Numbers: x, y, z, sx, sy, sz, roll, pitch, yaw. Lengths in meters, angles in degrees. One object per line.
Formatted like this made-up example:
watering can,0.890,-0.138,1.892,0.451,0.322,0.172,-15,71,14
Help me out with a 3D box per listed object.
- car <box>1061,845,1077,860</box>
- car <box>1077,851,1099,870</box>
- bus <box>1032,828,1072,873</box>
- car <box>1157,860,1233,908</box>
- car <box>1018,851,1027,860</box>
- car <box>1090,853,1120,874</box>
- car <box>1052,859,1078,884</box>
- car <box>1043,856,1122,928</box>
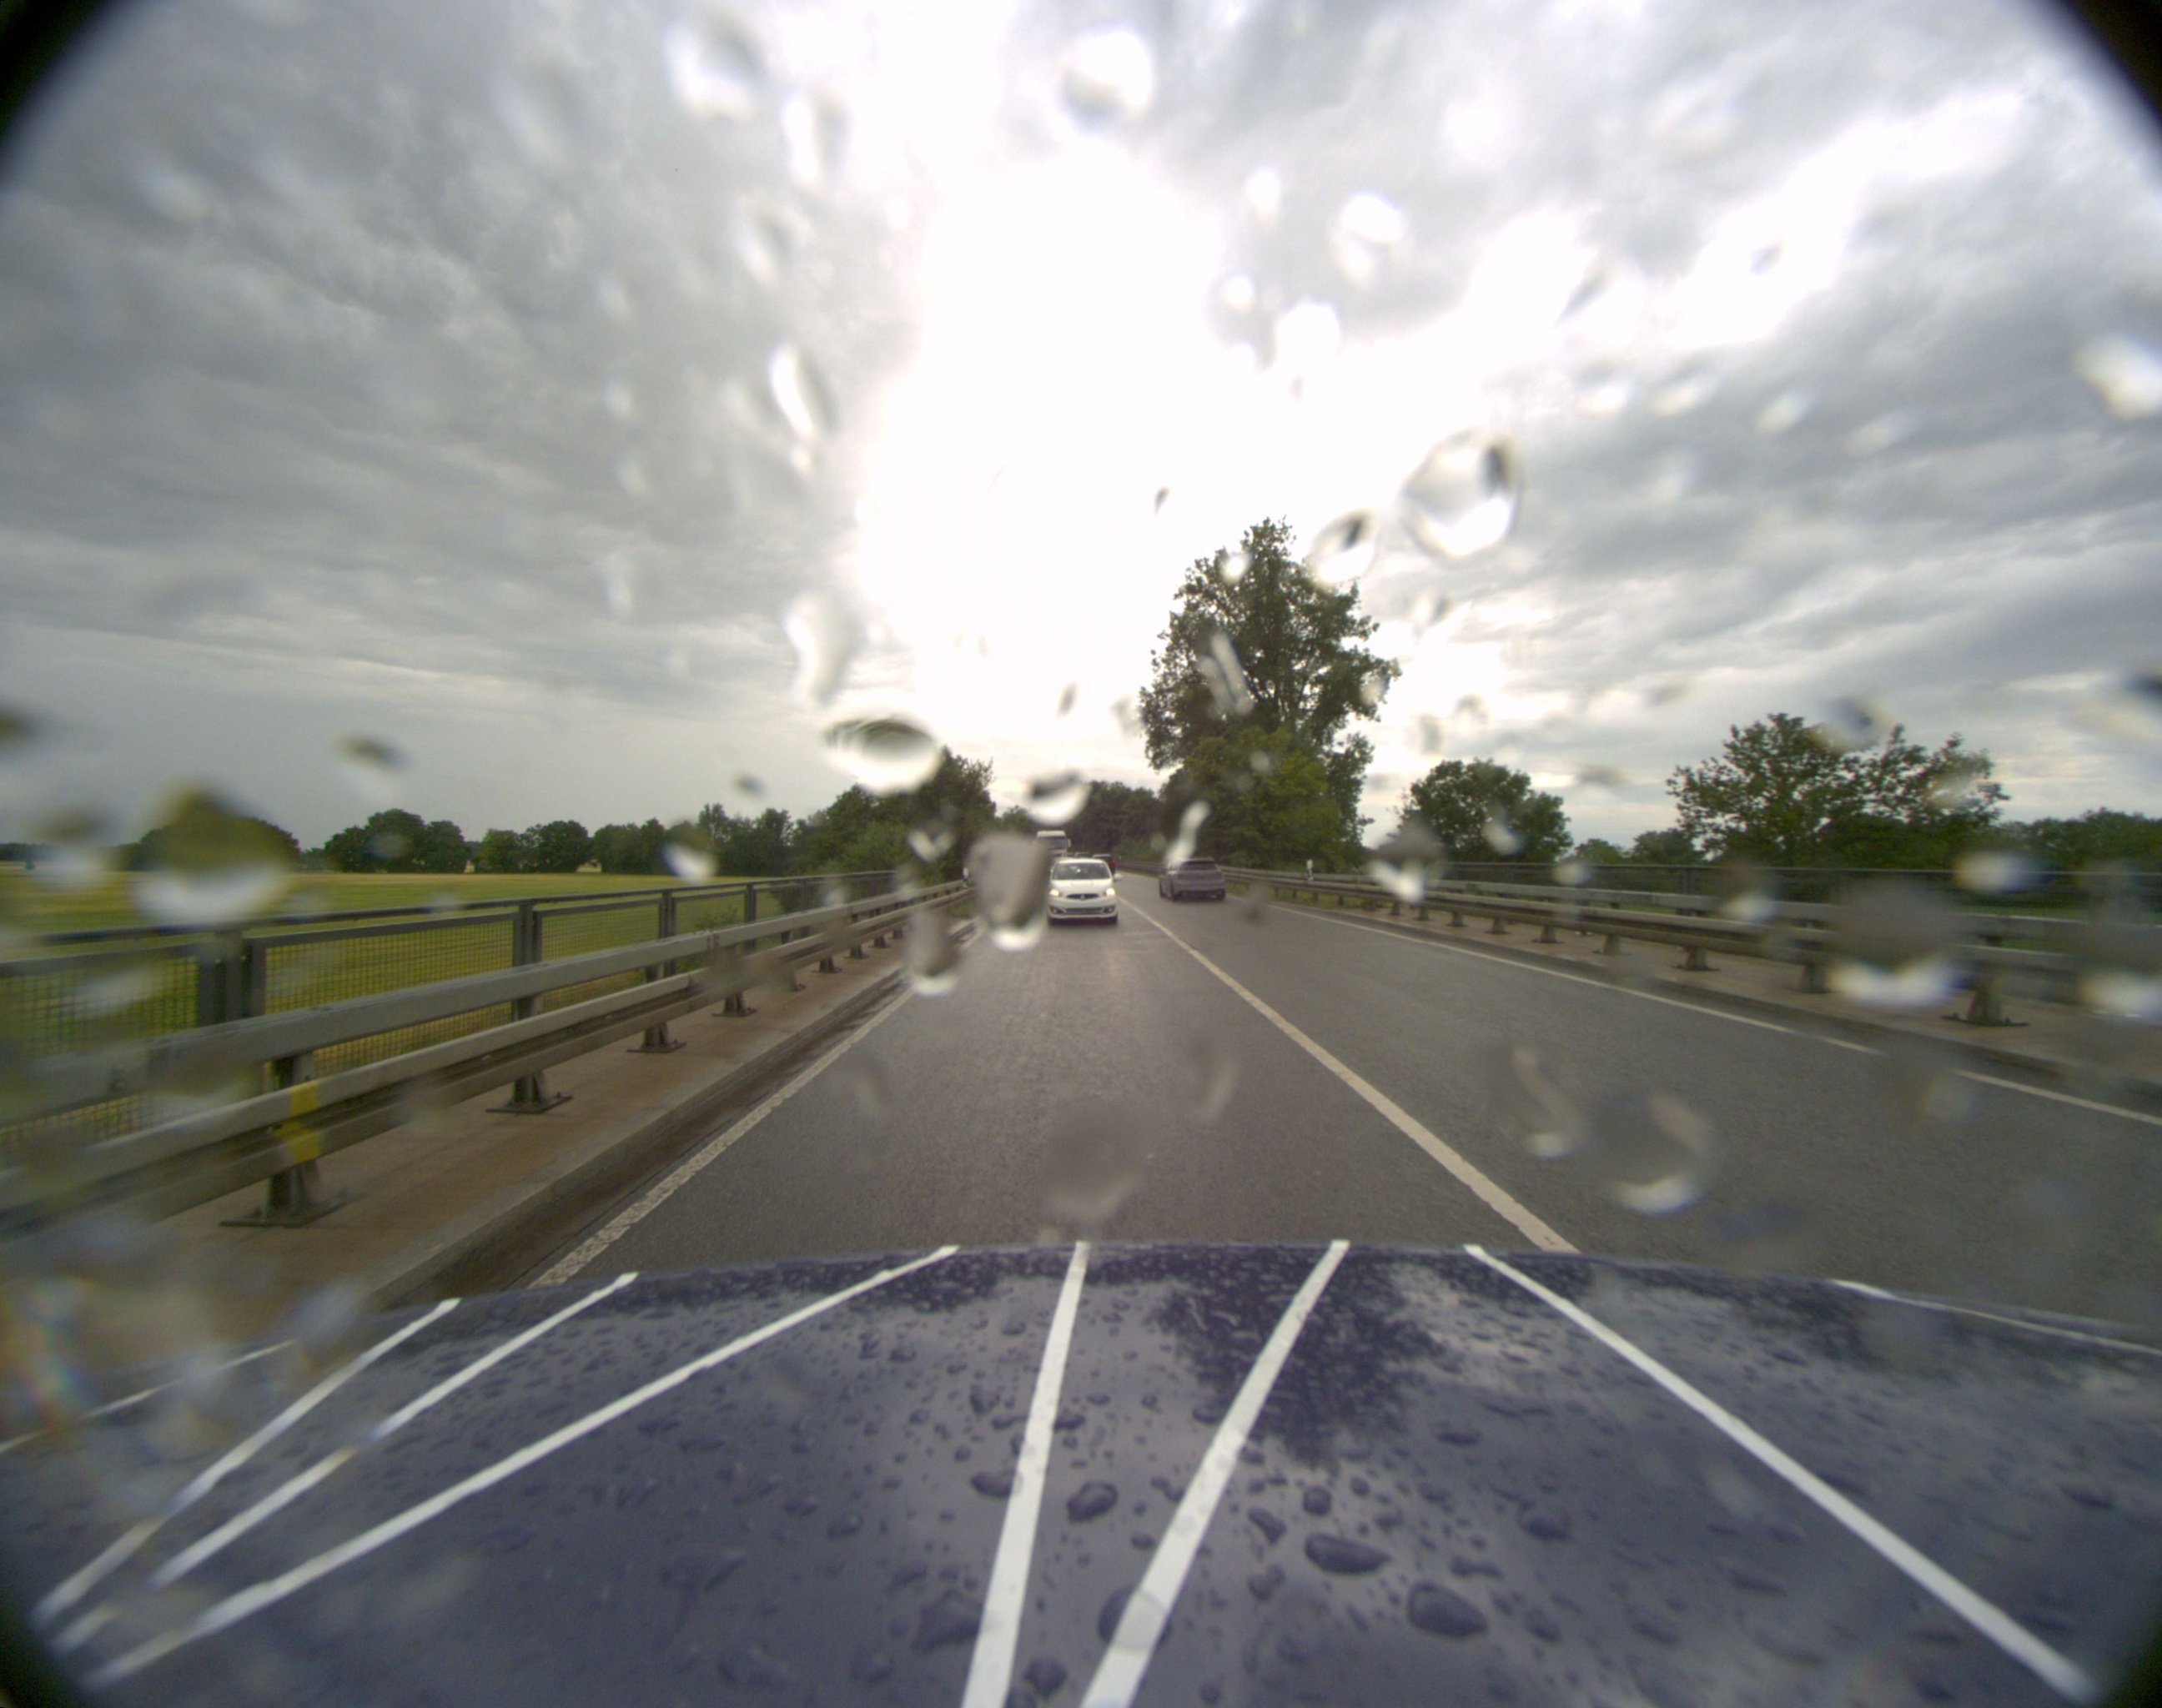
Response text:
car,-1.408,-0.127,88.549,1.751,1.644,4.523,-2,0,-2
car,0.672,0.609,72.487,1.846,1.690,4.388,-2,0,-2
bus,-2.560,-0.341,66.458,3.064,3.405,13.635,-2,1,-2
car,3.860,0.970,26.314,1.840,1.435,4.102,-2,0,-2
car,-10.073,0.305,130.453,1.394,1.470,3.225,-1,1,-6
car,1.815,0.740,58.954,1.905,1.532,4.021,-2,0,-4
car,-0.929,1.005,45.302,1.476,1.410,3.428,-1,0,-1
car,-0.050,0.847,18.760,1.701,1.471,4.061,-2,1,-2
